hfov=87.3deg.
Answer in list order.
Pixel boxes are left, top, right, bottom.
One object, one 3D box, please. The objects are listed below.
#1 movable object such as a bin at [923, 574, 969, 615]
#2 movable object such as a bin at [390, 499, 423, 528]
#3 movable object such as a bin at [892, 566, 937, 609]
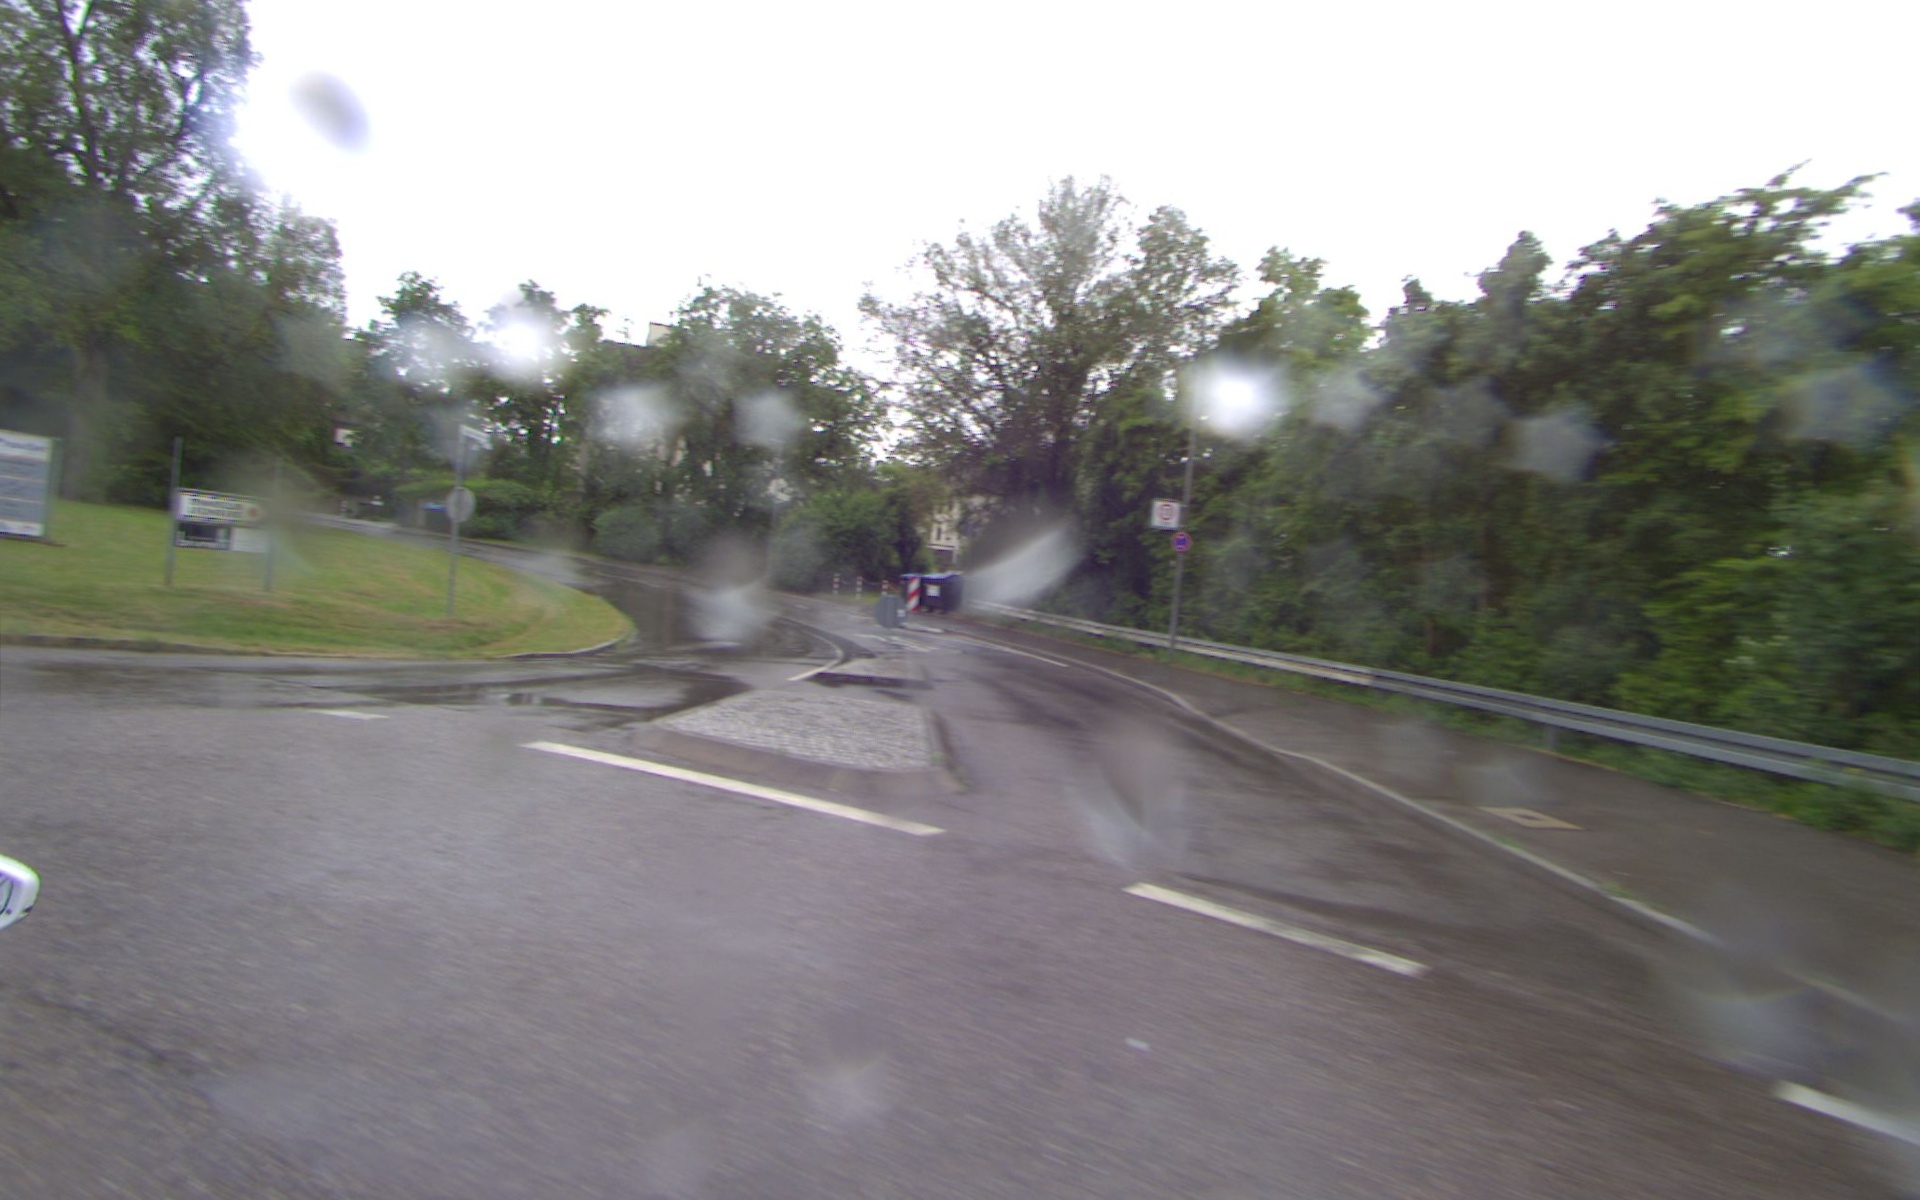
[{"bbox_3d":[-0.501,-0.199,35.866,1.184,1.361,1.066,2,4,-32],"label":"movable object such as a bin"},{"bbox_3d":[-31.256,-4.871,56.811,1.409,1.456,1.191,8,3,43],"label":"movable object such as a bin"},{"bbox_3d":[-1.672,-0.460,36.939,1.184,1.457,1.066,3,3,-32],"label":"movable object such as a bin"}]
